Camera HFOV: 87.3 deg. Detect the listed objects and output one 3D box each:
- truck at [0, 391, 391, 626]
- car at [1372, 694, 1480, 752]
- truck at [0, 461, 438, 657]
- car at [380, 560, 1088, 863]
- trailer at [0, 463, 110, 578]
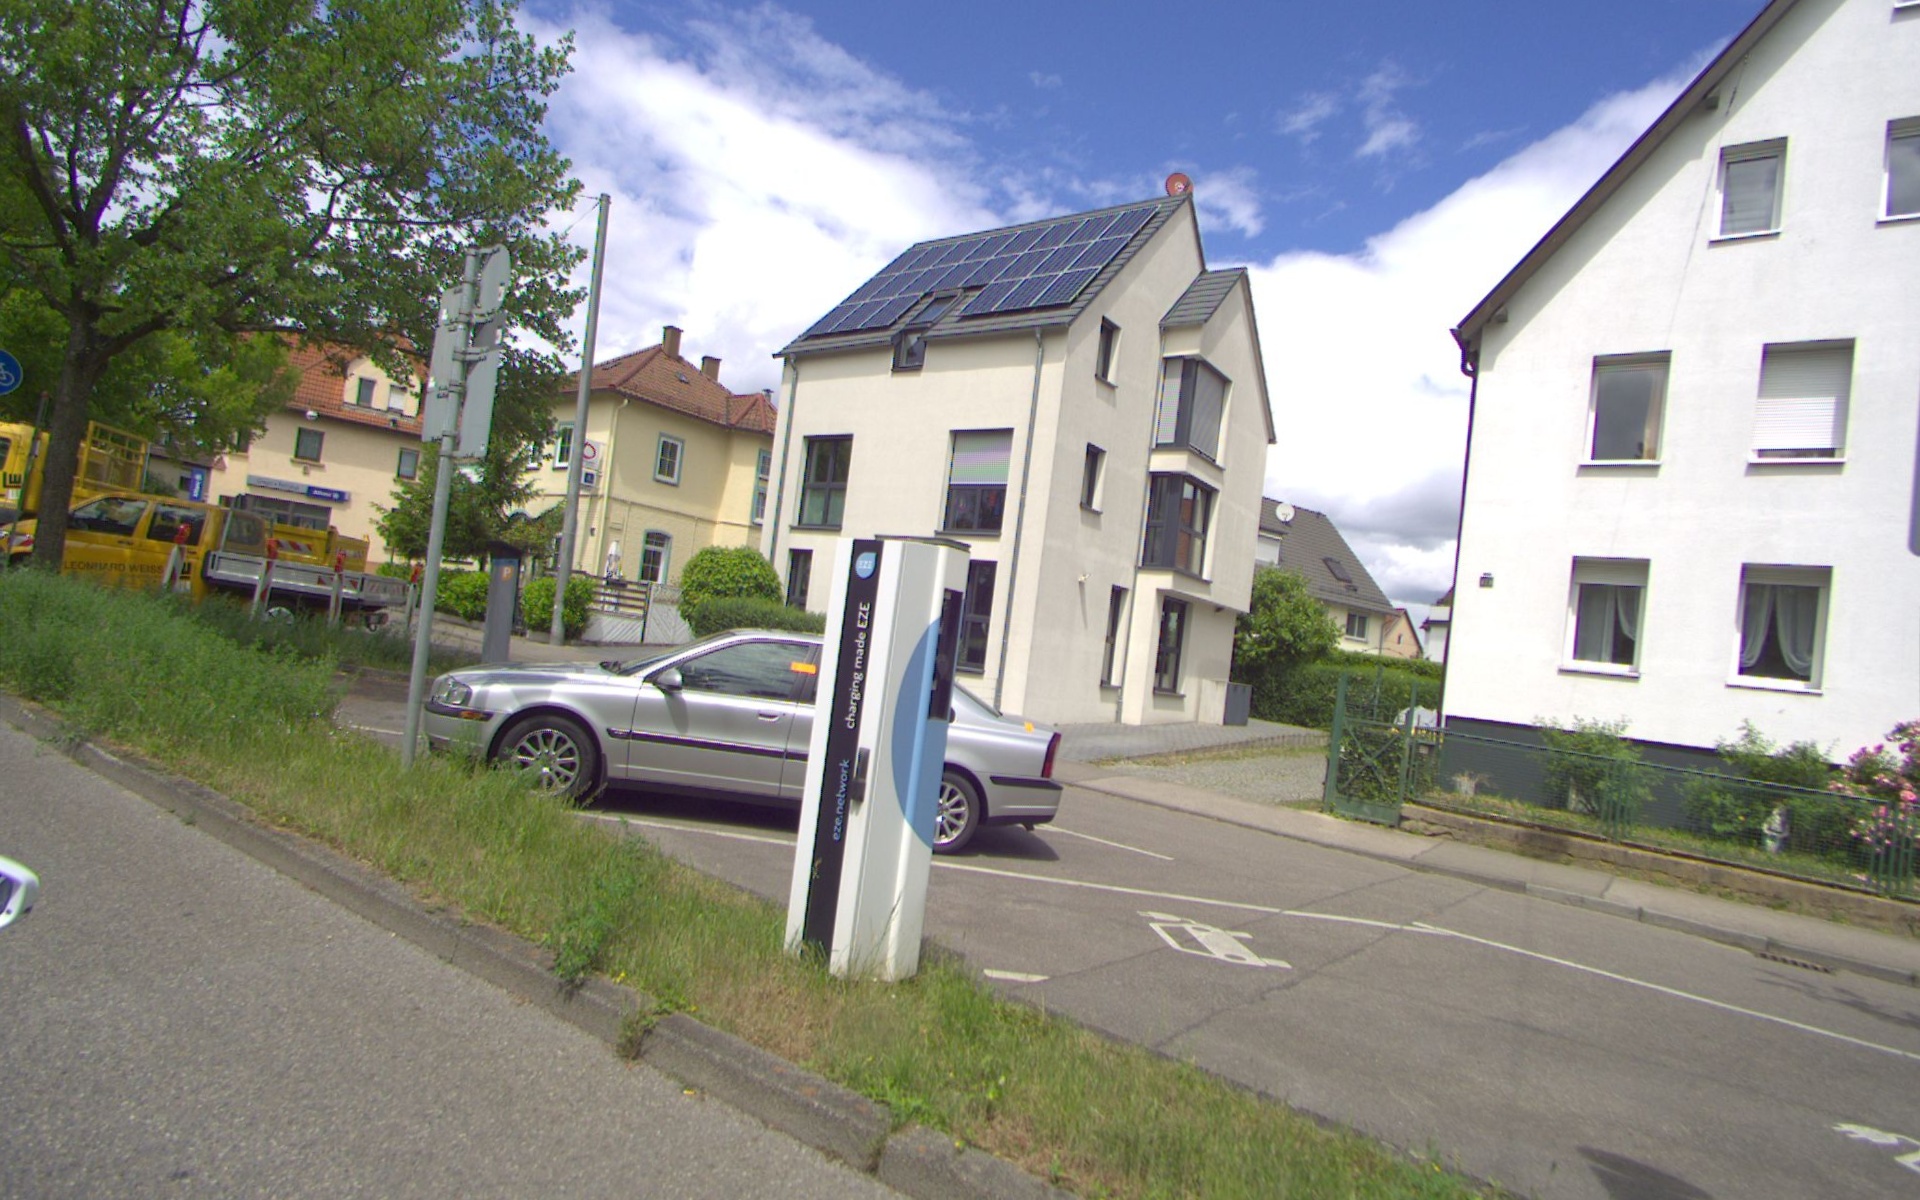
[{"bbox_3d":[-14.731,-1.577,18.529,6.615,3.038,2.763,10,-5,-19],"label":"truck"},{"bbox_3d":[13.752,3.630,29.572,1.971,1.347,3.988,4,-4,38],"label":"car"},{"bbox_3d":[-11.889,-0.521,16.261,5.596,2.033,1.996,10,-5,-17],"label":"truck"},{"bbox_3d":[-1.562,0.874,7.806,4.619,1.467,1.764,10,-3,-15],"label":"car"},{"bbox_3d":[-21.404,-1.894,22.299,5.425,2.054,2.394,6,-4,35],"label":"trailer"}]
